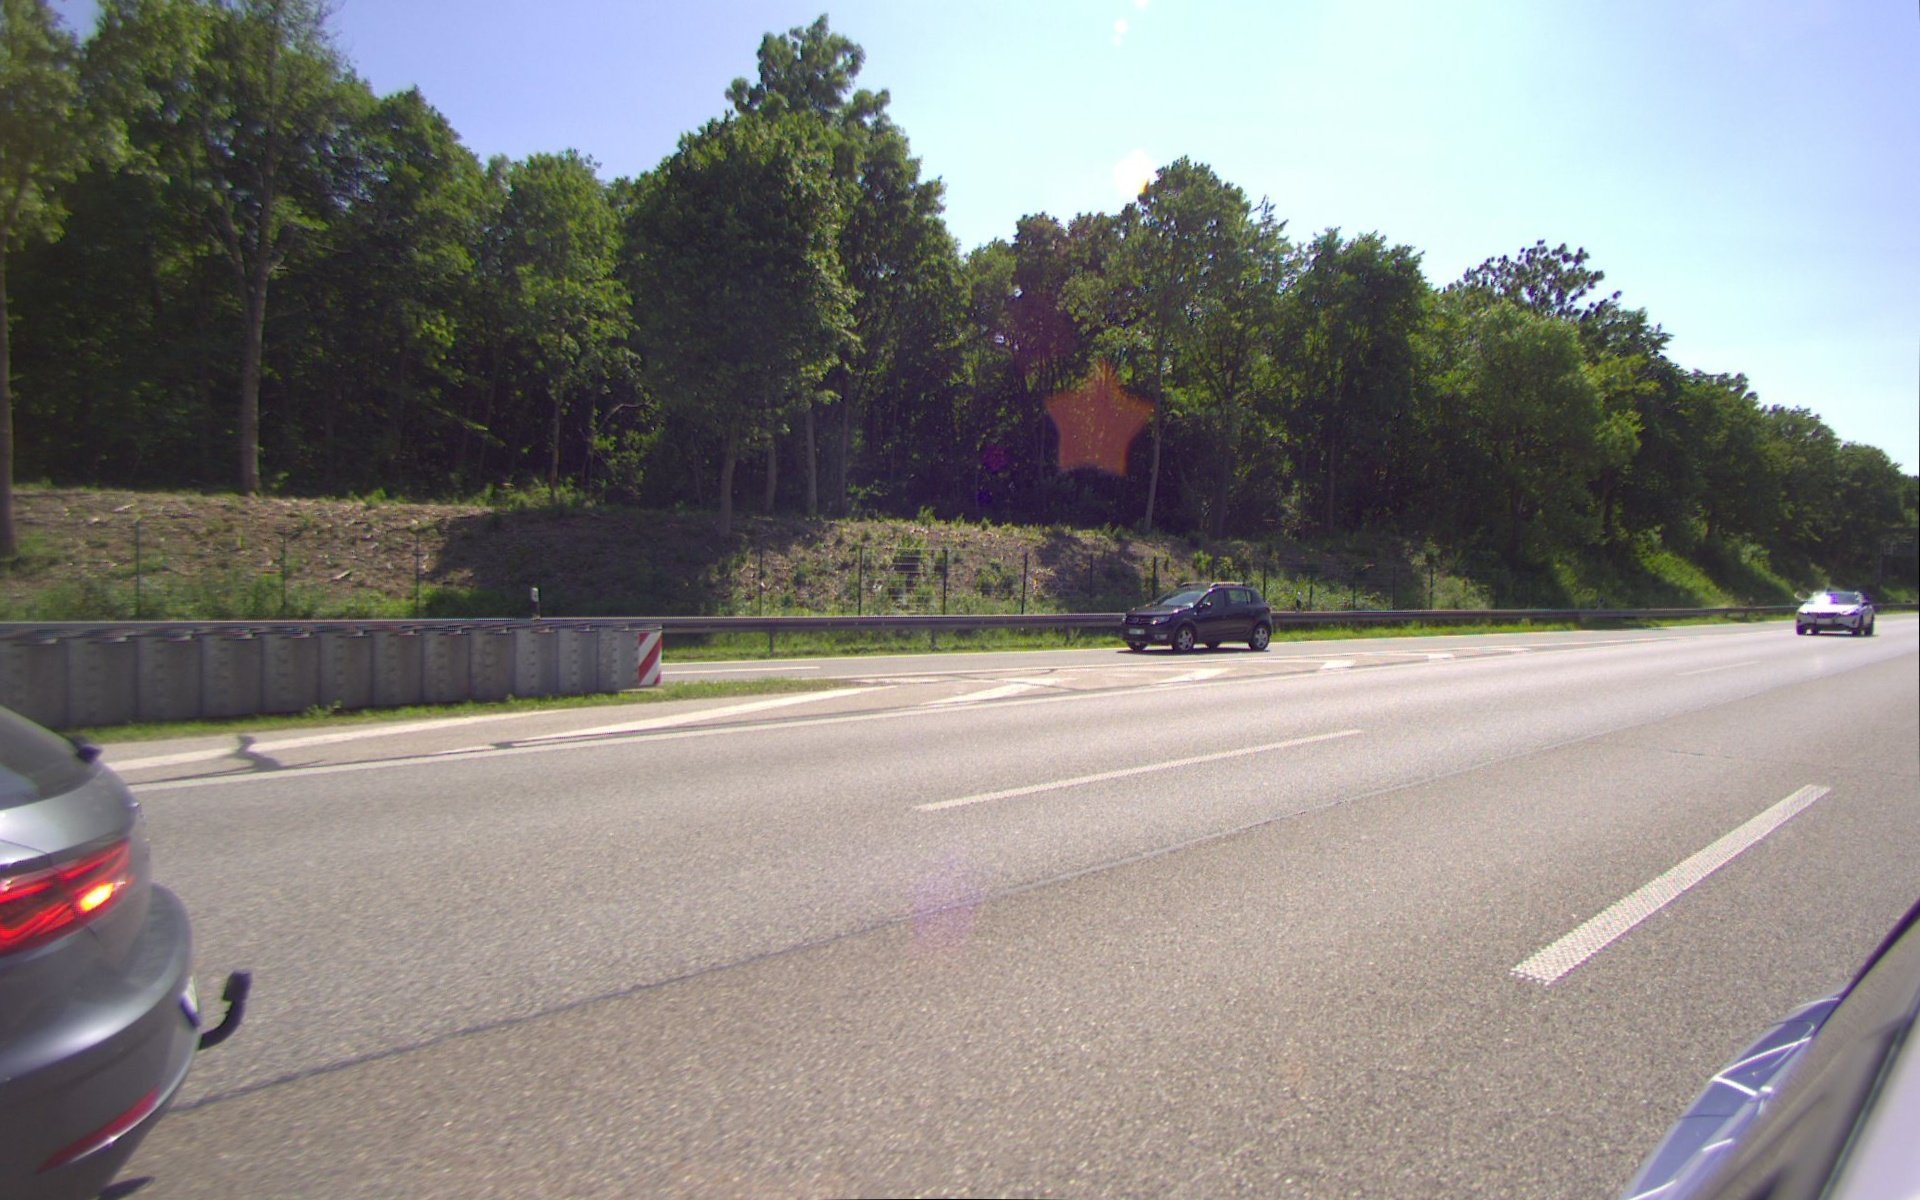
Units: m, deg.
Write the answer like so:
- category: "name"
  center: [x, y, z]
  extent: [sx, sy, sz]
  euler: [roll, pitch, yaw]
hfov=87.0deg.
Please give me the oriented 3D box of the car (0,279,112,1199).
- category: "car"
  center: [-3.804, 0.385, 0.816]
  extent: [4.744, 1.899, 1.668]
  euler: [0, 2, -42]

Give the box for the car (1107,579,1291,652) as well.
- category: "car"
  center: [5.677, 0.333, 23.911]
  extent: [4.173, 1.588, 1.772]
  euler: [0, 0, -31]

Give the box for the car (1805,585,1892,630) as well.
- category: "car"
  center: [33.072, 0.272, 37.649]
  extent: [3.963, 1.588, 1.847]
  euler: [0, 0, -40]
